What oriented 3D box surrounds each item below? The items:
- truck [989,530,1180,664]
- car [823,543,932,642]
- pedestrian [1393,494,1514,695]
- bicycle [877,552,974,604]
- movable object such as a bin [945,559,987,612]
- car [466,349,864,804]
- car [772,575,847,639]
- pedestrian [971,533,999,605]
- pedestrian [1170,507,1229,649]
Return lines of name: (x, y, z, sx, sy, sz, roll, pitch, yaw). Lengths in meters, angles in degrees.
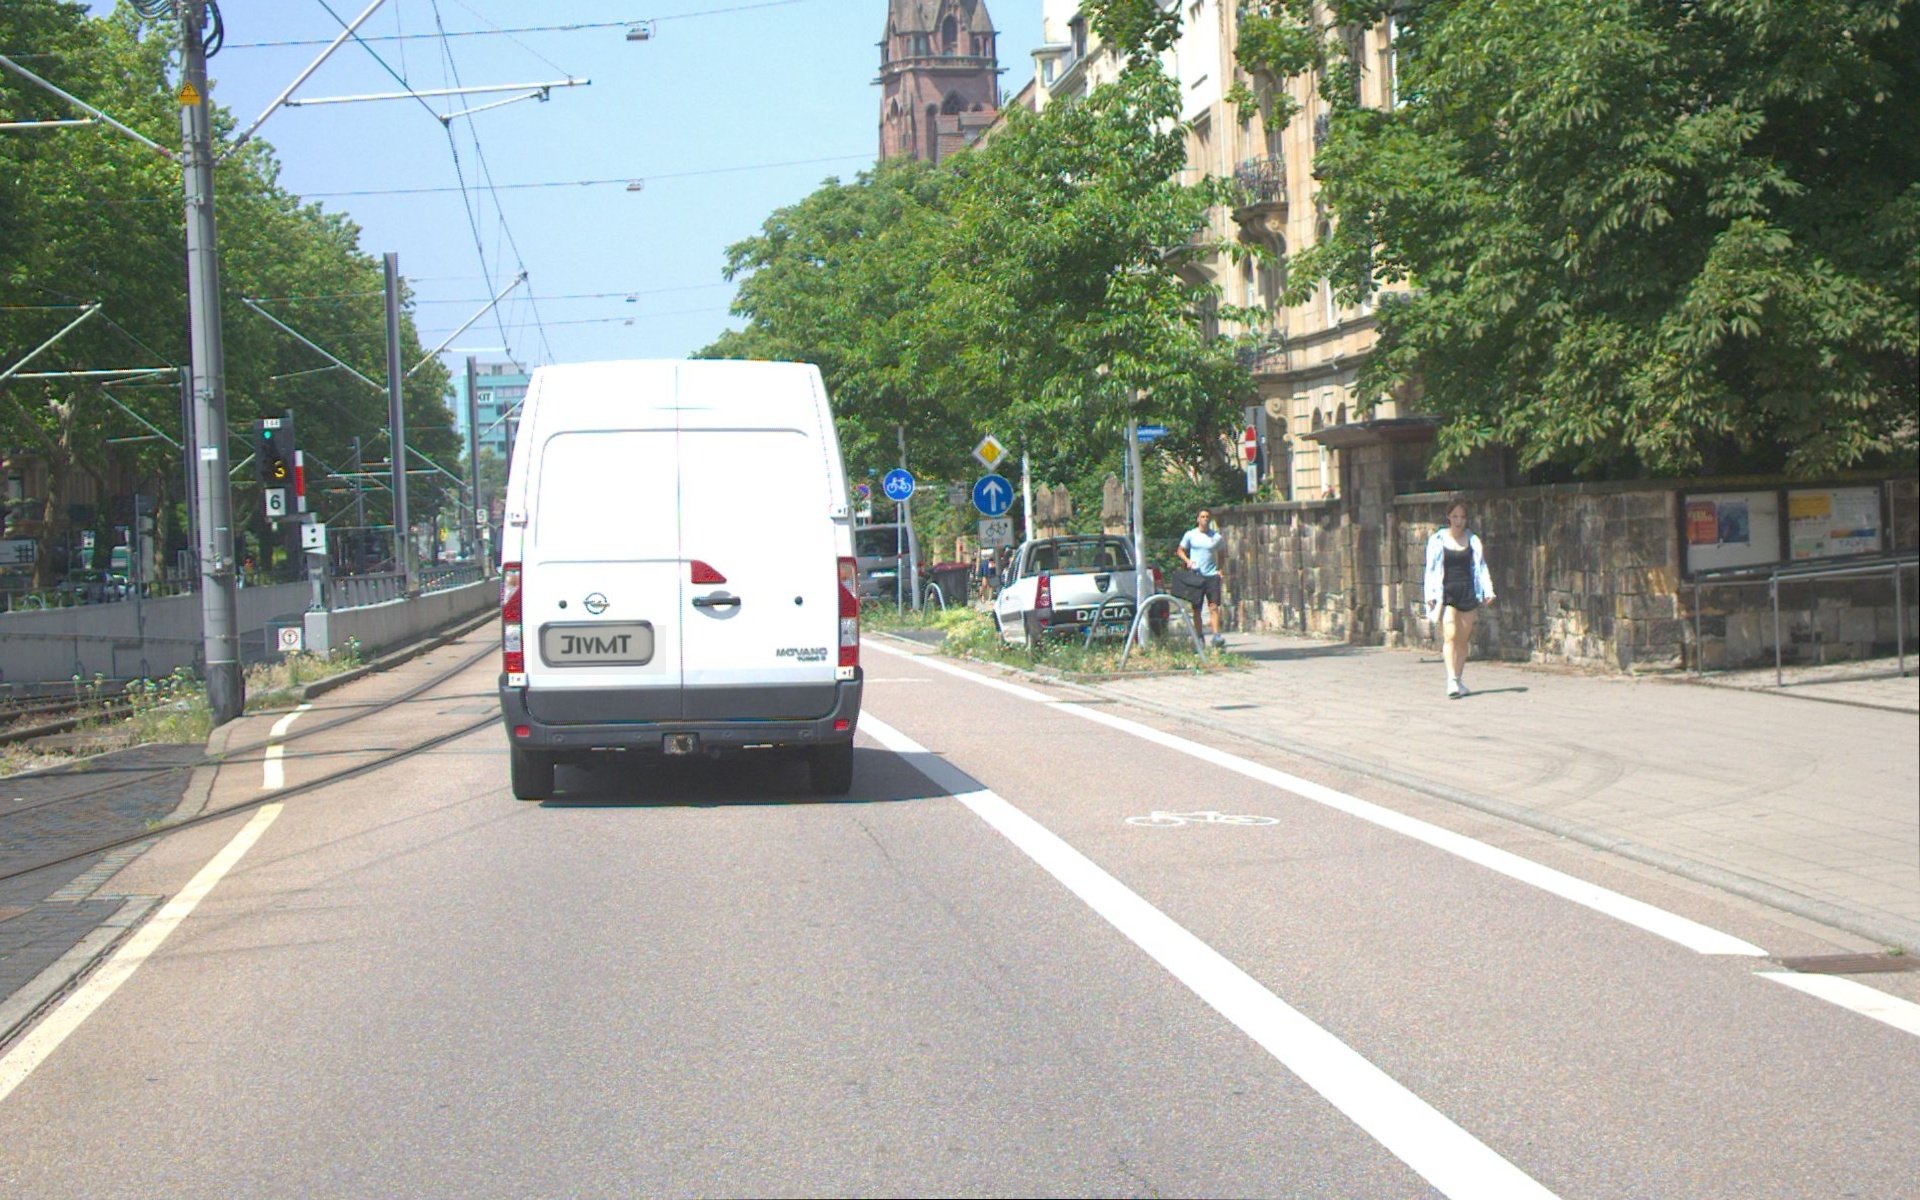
truck: (1.480, -0.058, 42.525, 1.789, 1.521, 4.466, -1, 1, -5)
car: (-1.796, -0.179, 73.108, 1.878, 1.941, 4.837, -3, 1, -5)
pedestrian: (4.158, -0.050, 29.017, 0.793, 1.645, 0.967, -1, 0, -4)
bicycle: (-0.695, -0.442, 69.328, 1.880, 0.988, 0.470, -2, 0, -15)
movable object such as a bin: (0.123, -0.286, 66.606, 0.787, 1.010, 0.650, -1, 0, 1)
car: (-1.872, -0.157, 21.408, 2.116, 2.450, 5.055, -1, 1, -6)
car: (-3.863, 0.151, 87.913, 1.667, 1.525, 4.014, -2, 1, -5)
pedestrian: (0.559, -0.693, 76.597, 0.552, 1.592, 0.728, -1, 0, -3)
pedestrian: (3.000, -0.281, 43.114, 0.621, 1.749, 0.678, -1, 0, -4)
